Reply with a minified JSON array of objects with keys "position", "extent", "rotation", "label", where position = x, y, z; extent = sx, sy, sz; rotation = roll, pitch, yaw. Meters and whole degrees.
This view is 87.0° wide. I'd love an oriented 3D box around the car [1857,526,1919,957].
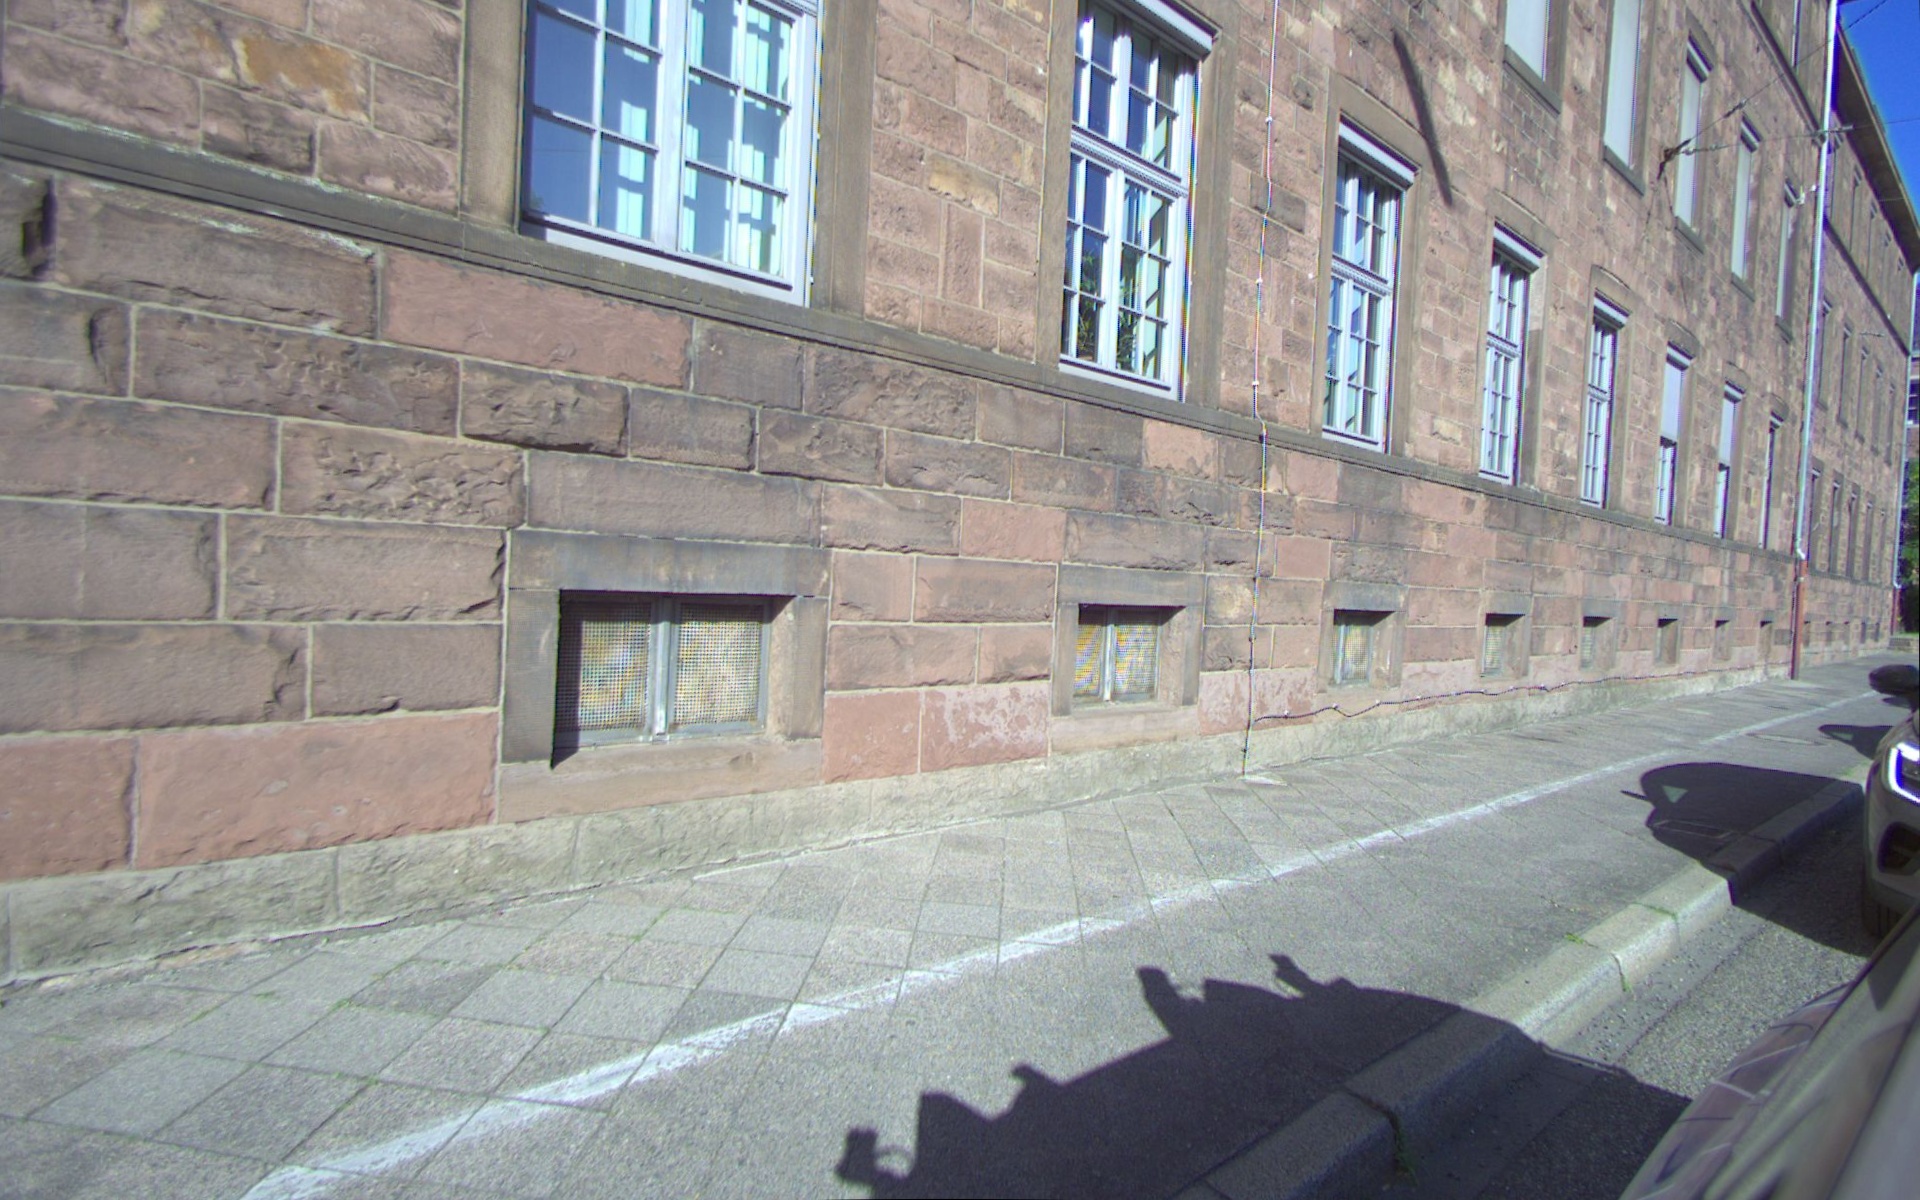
[{"position":[5.479,0.573,4.557],"extent":[3.735,1.624,1.793],"rotation":[1,1,-43],"label":"car"}]
